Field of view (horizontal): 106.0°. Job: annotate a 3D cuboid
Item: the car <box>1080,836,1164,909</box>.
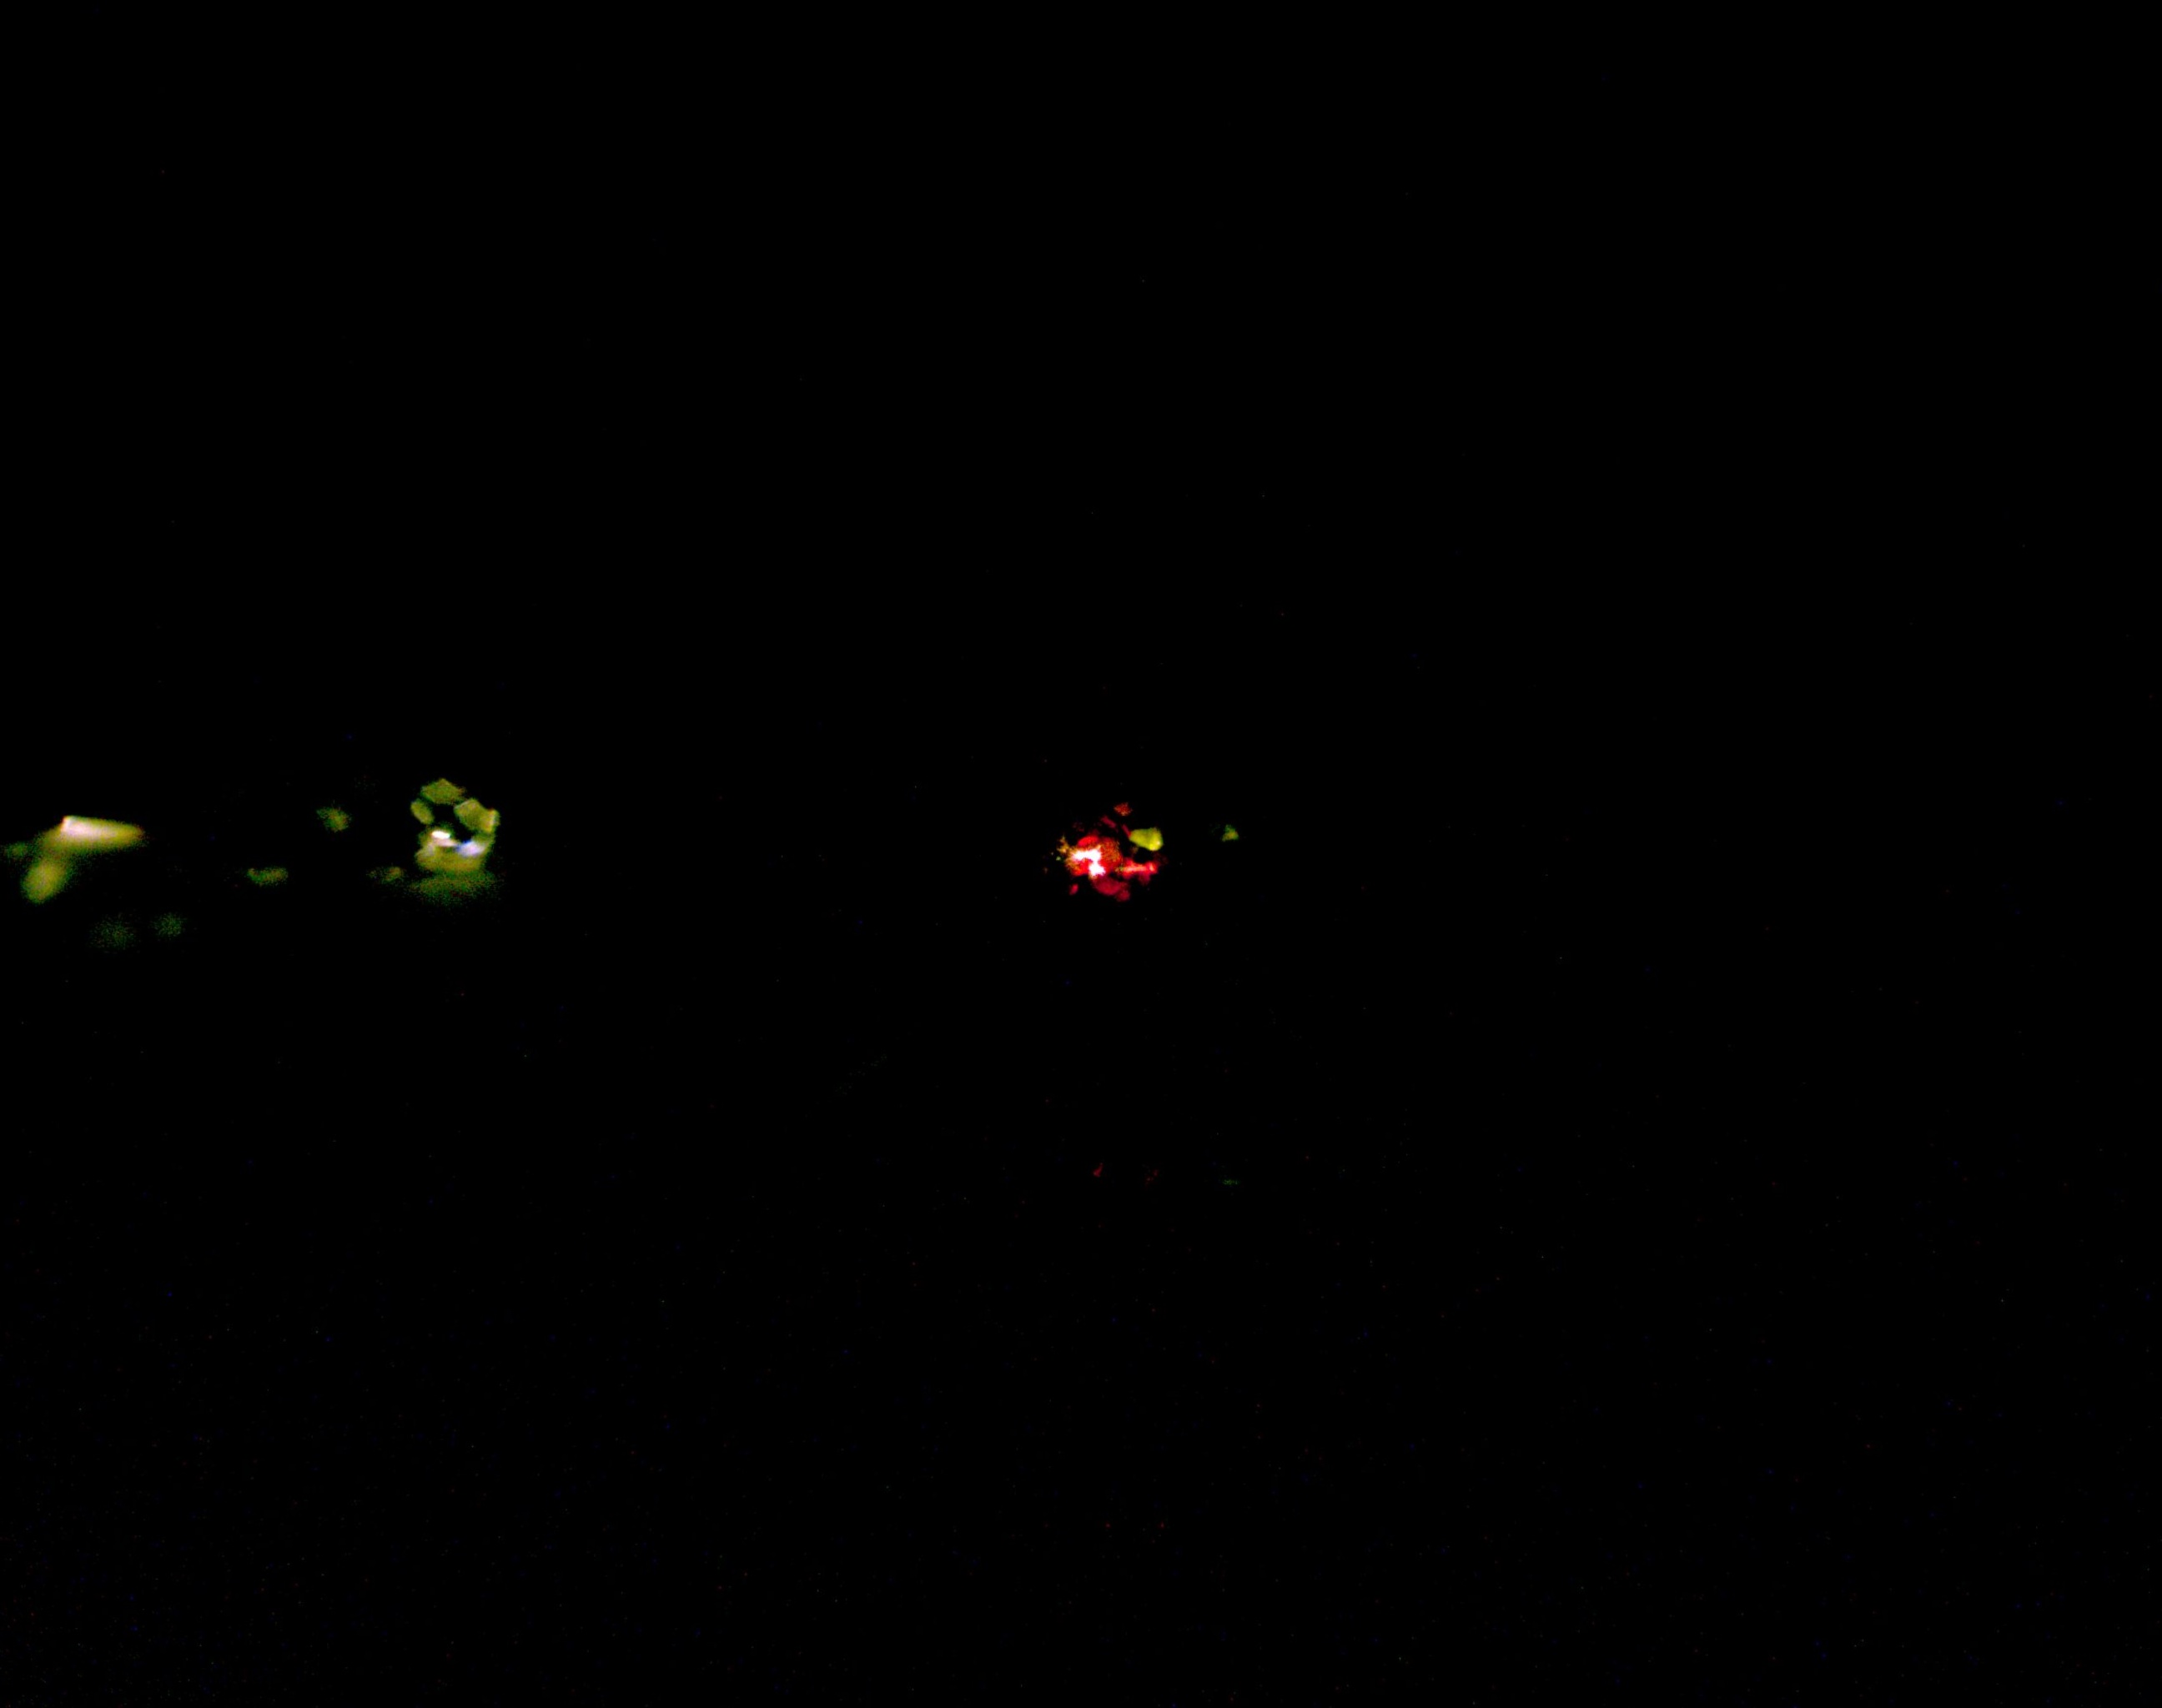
[{"bbox_3d":[1.488,0.586,29.724,2.704,2.307,6.105,-2,0,3],"label":"car"}]
